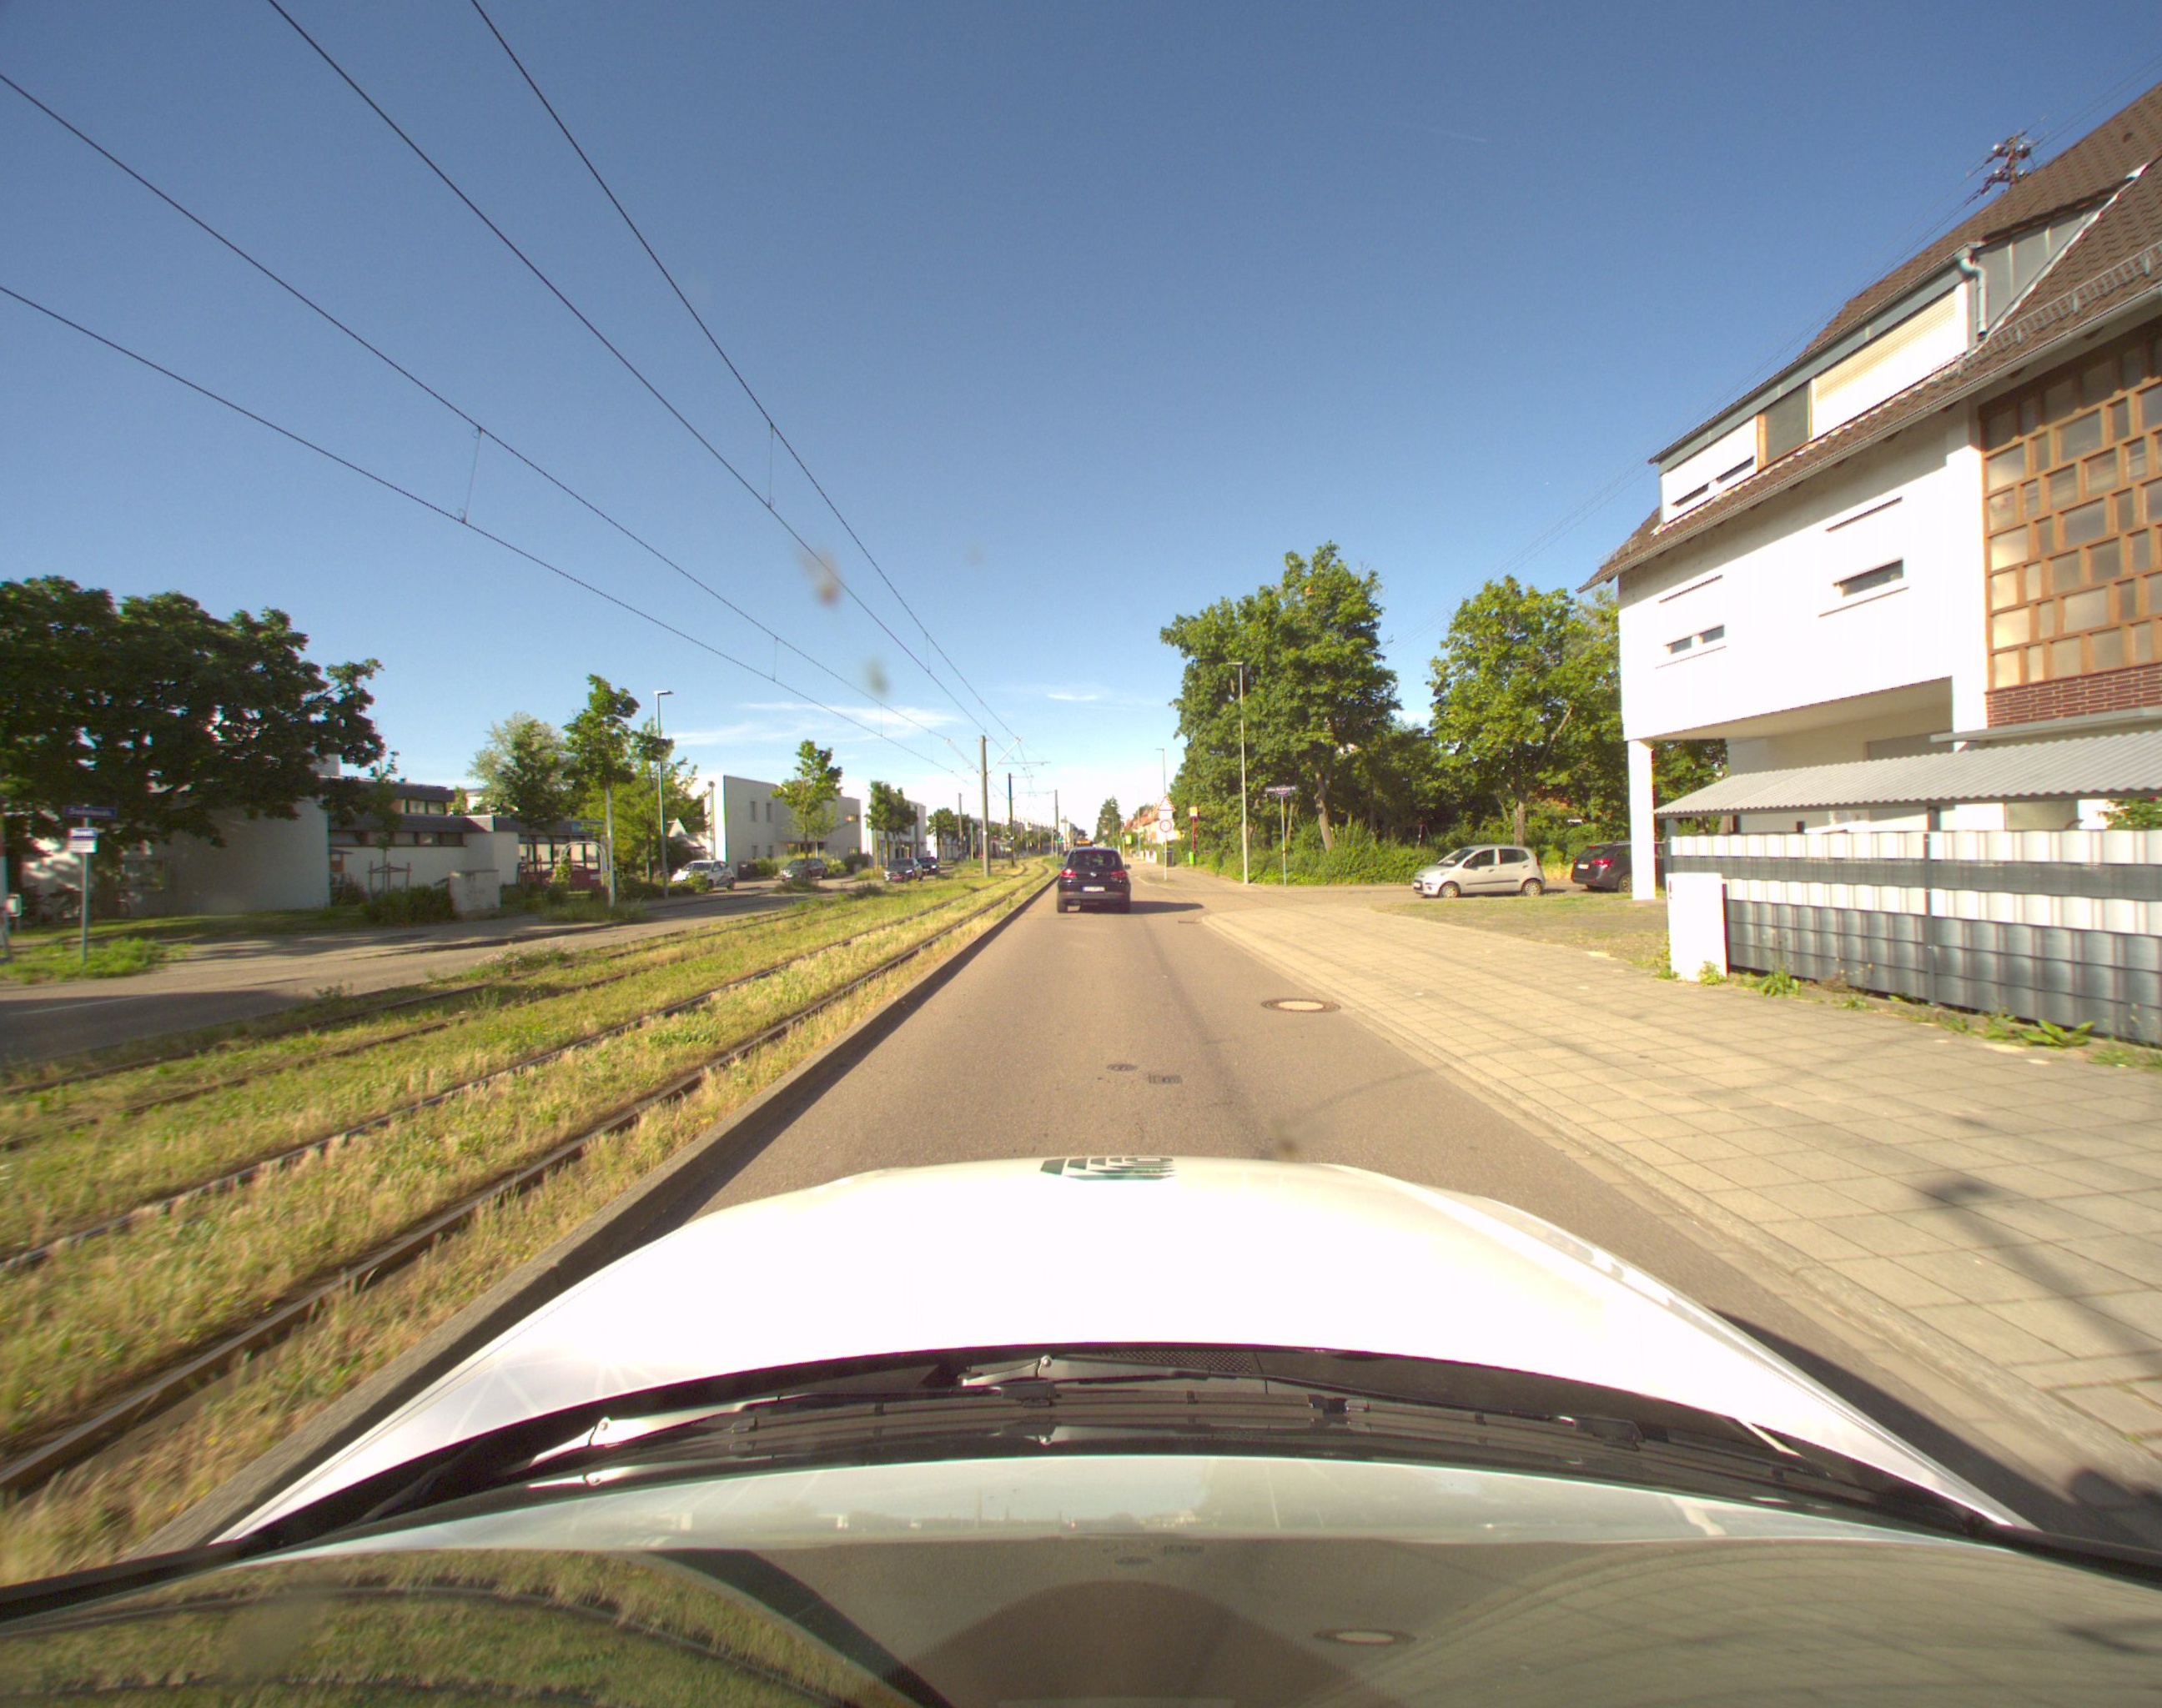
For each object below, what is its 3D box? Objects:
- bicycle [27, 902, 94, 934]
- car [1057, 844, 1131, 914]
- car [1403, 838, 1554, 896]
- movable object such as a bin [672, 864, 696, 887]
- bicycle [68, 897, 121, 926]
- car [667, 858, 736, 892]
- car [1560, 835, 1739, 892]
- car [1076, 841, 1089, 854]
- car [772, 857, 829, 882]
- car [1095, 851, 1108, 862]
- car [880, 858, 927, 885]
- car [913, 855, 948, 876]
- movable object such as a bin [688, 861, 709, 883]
[{"bbox_3d":[-28.438,1.781,22.711,1.241,0.825,0.333,-2,0,-10],"label":"bicycle"},{"bbox_3d":[0.272,0.590,21.489,1.771,1.670,3.998,0,0,-1],"label":"car"},{"bbox_3d":[11.561,0.381,23.835,3.581,1.530,1.648,-2,-1,2],"label":"car"},{"bbox_3d":[-25.321,1.370,51.988,0.660,1.383,1.425,0,0,8],"label":"movable object such as a bin"},{"bbox_3d":[-28.707,1.674,23.710,1.057,0.780,0.301,-2,0,-6],"label":"bicycle"},{"bbox_3d":[-17.974,0.974,38.727,1.539,1.491,3.774,0,0,-1],"label":"car"},{"bbox_3d":[16.540,0.262,23.824,3.987,1.497,1.745,-2,0,1],"label":"car"},{"bbox_3d":[0.311,-1.265,158.546,2.386,2.564,5.530,-2,0,1],"label":"car"},{"bbox_3d":[-17.804,0.962,51.865,1.802,1.461,4.323,0,0,5],"label":"car"},{"bbox_3d":[3.224,0.331,129.667,1.771,1.670,3.998,-2,0,-1],"label":"car"},{"bbox_3d":[-10.296,0.992,47.651,1.682,1.389,4.387,-4,0,0],"label":"car"},{"bbox_3d":[-11.532,0.861,62.590,1.757,1.444,4.915,-4,0,-1],"label":"car"},{"bbox_3d":[-25.158,1.196,53.556,0.660,1.433,1.257,0,0,8],"label":"movable object such as a bin"}]
